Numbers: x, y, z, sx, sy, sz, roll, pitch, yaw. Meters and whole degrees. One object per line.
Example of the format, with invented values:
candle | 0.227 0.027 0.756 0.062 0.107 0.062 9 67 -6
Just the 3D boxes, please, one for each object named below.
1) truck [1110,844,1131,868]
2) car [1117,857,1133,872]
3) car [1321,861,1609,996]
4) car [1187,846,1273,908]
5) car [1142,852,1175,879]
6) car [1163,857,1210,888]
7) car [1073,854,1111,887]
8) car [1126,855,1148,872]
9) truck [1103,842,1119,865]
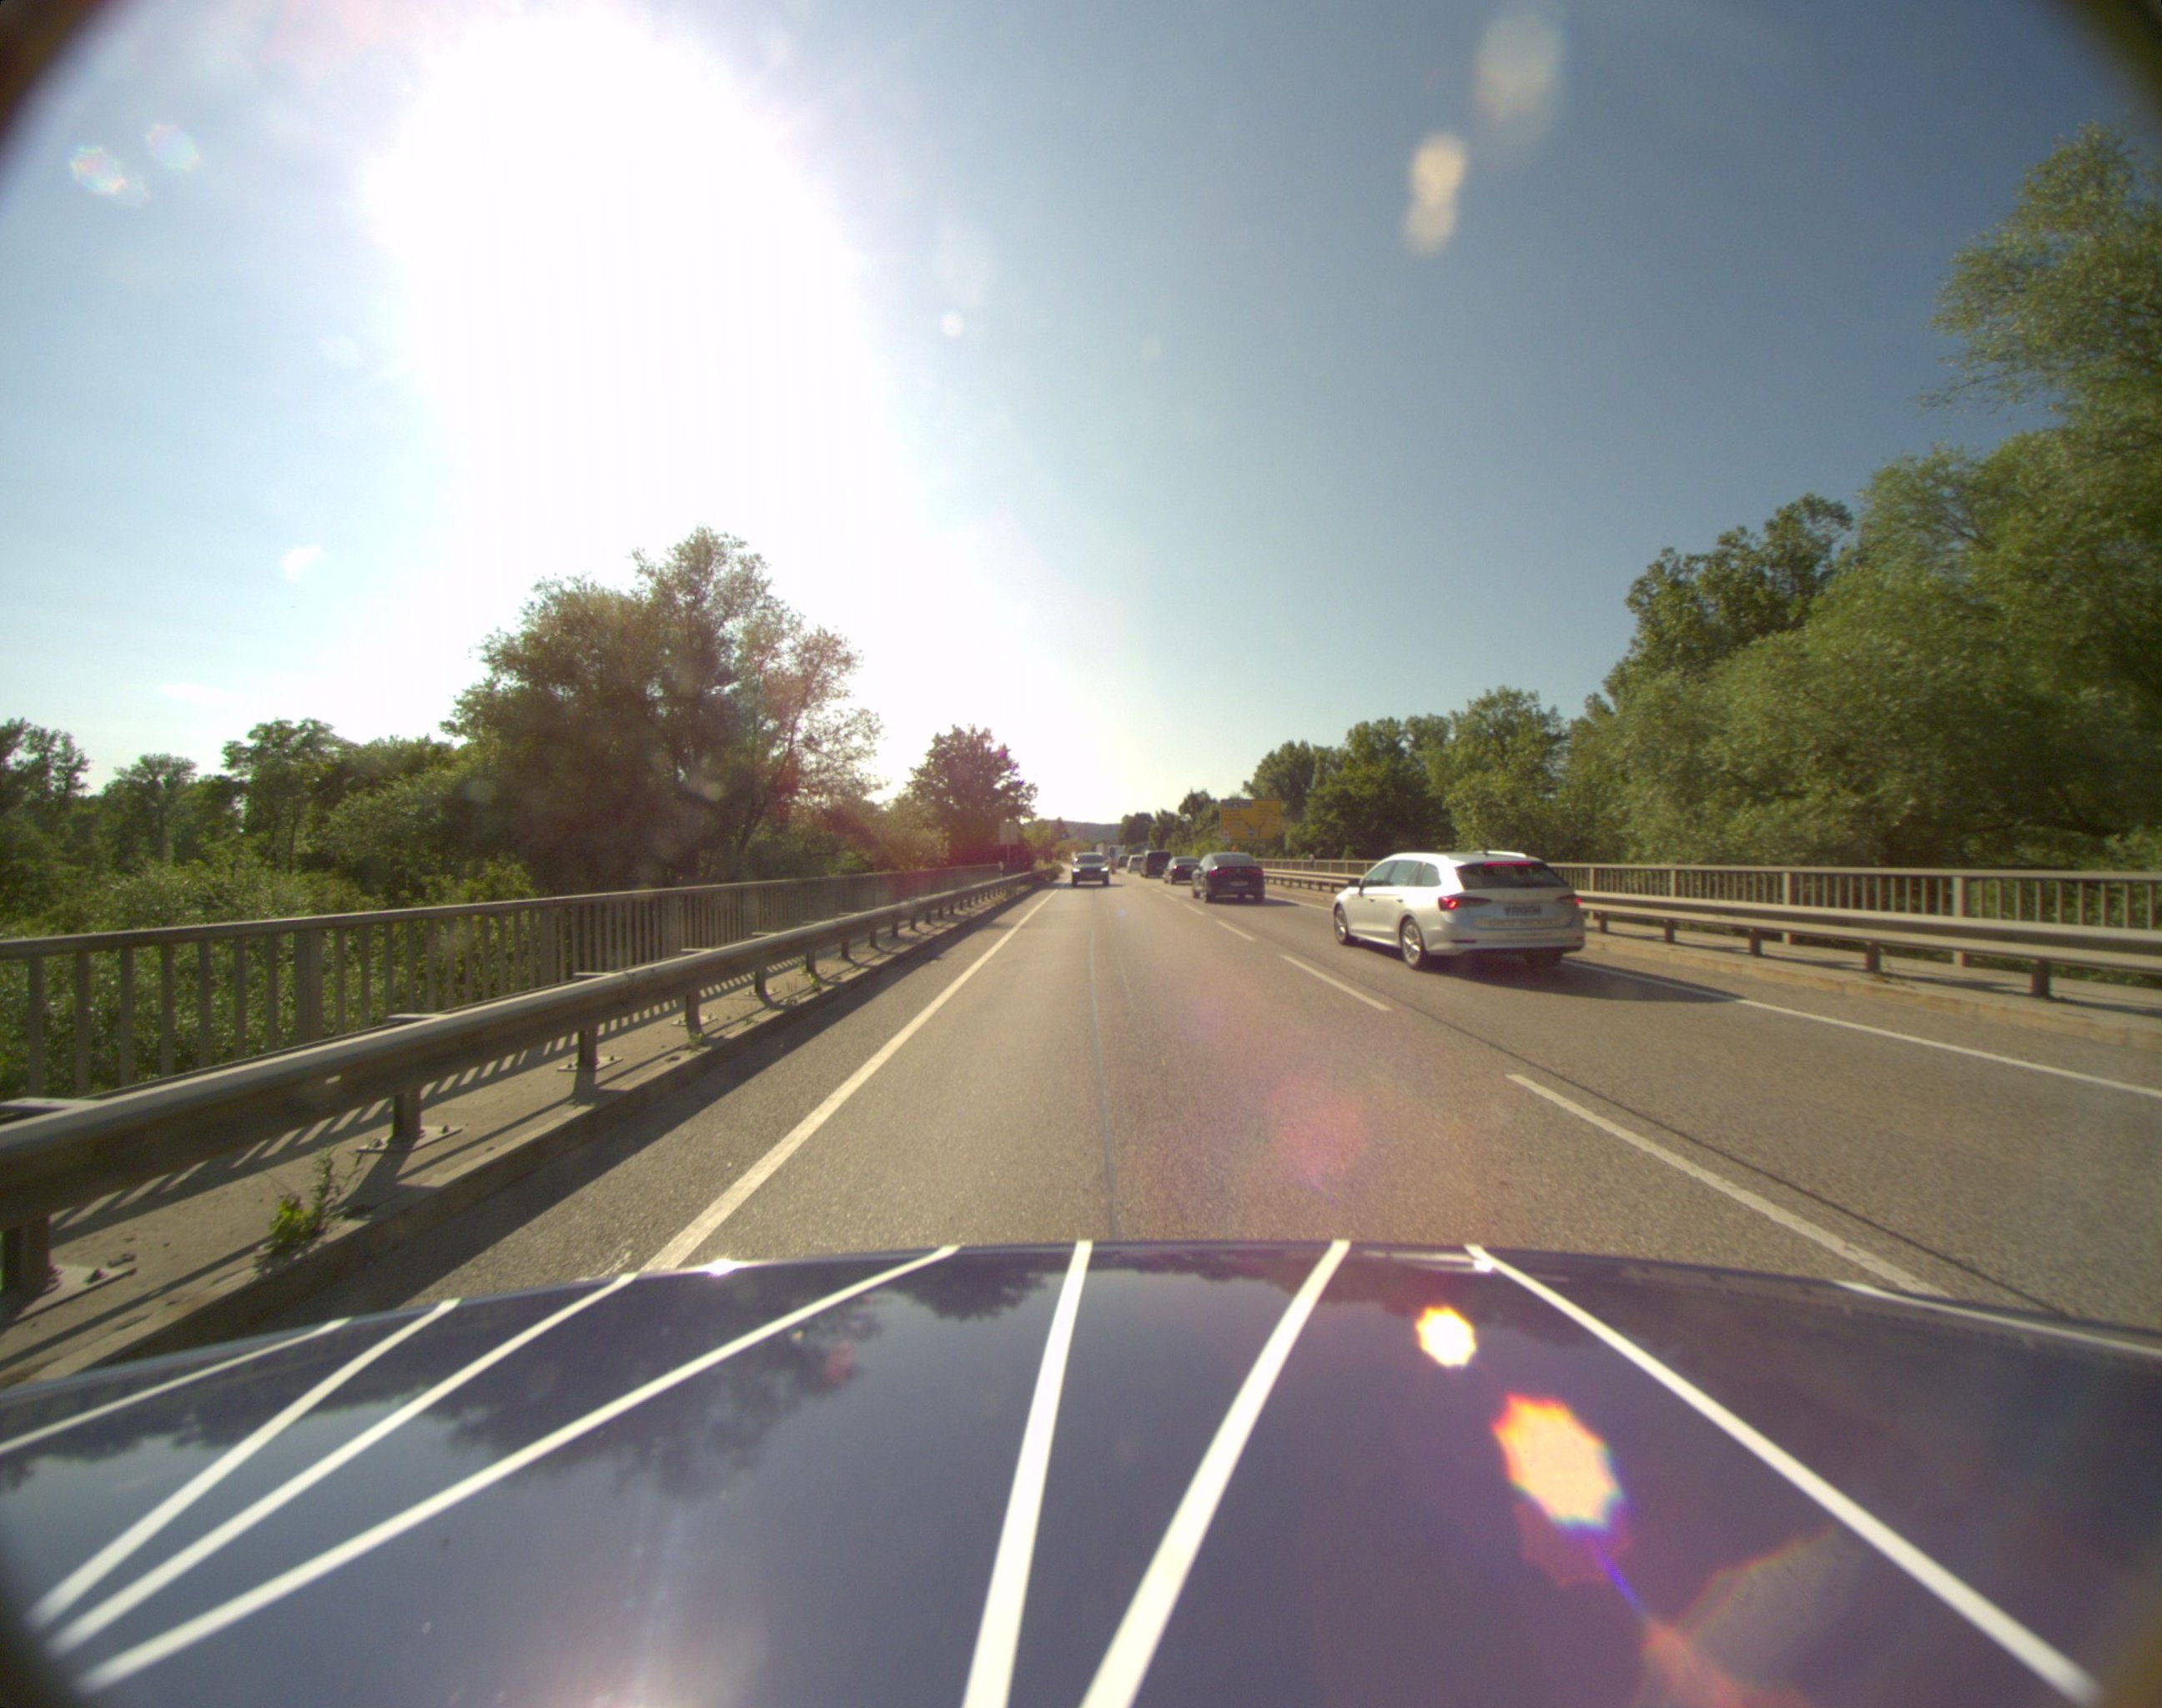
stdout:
truck | 5.418 0.331 105.904 2.620 3.235 6.967 -1 0 1
car | 5.189 1.222 90.008 1.743 1.655 4.046 -1 0 1
car | 4.877 0.829 10.496 1.736 1.427 4.487 0 0 1
car | 4.687 0.686 24.584 1.972 1.796 4.531 -1 0 1
car | 5.316 0.775 52.705 1.972 1.796 4.531 -1 0 1
car | 5.405 0.900 39.480 1.893 1.479 4.273 -1 0 1
car | 0.614 0.816 39.417 1.871 1.598 4.380 -1 0 2
car | 5.074 0.838 68.986 1.824 1.537 4.062 -1 0 2
truck | 5.623 -0.048 142.979 2.744 4.303 8.130 -1 0 1
